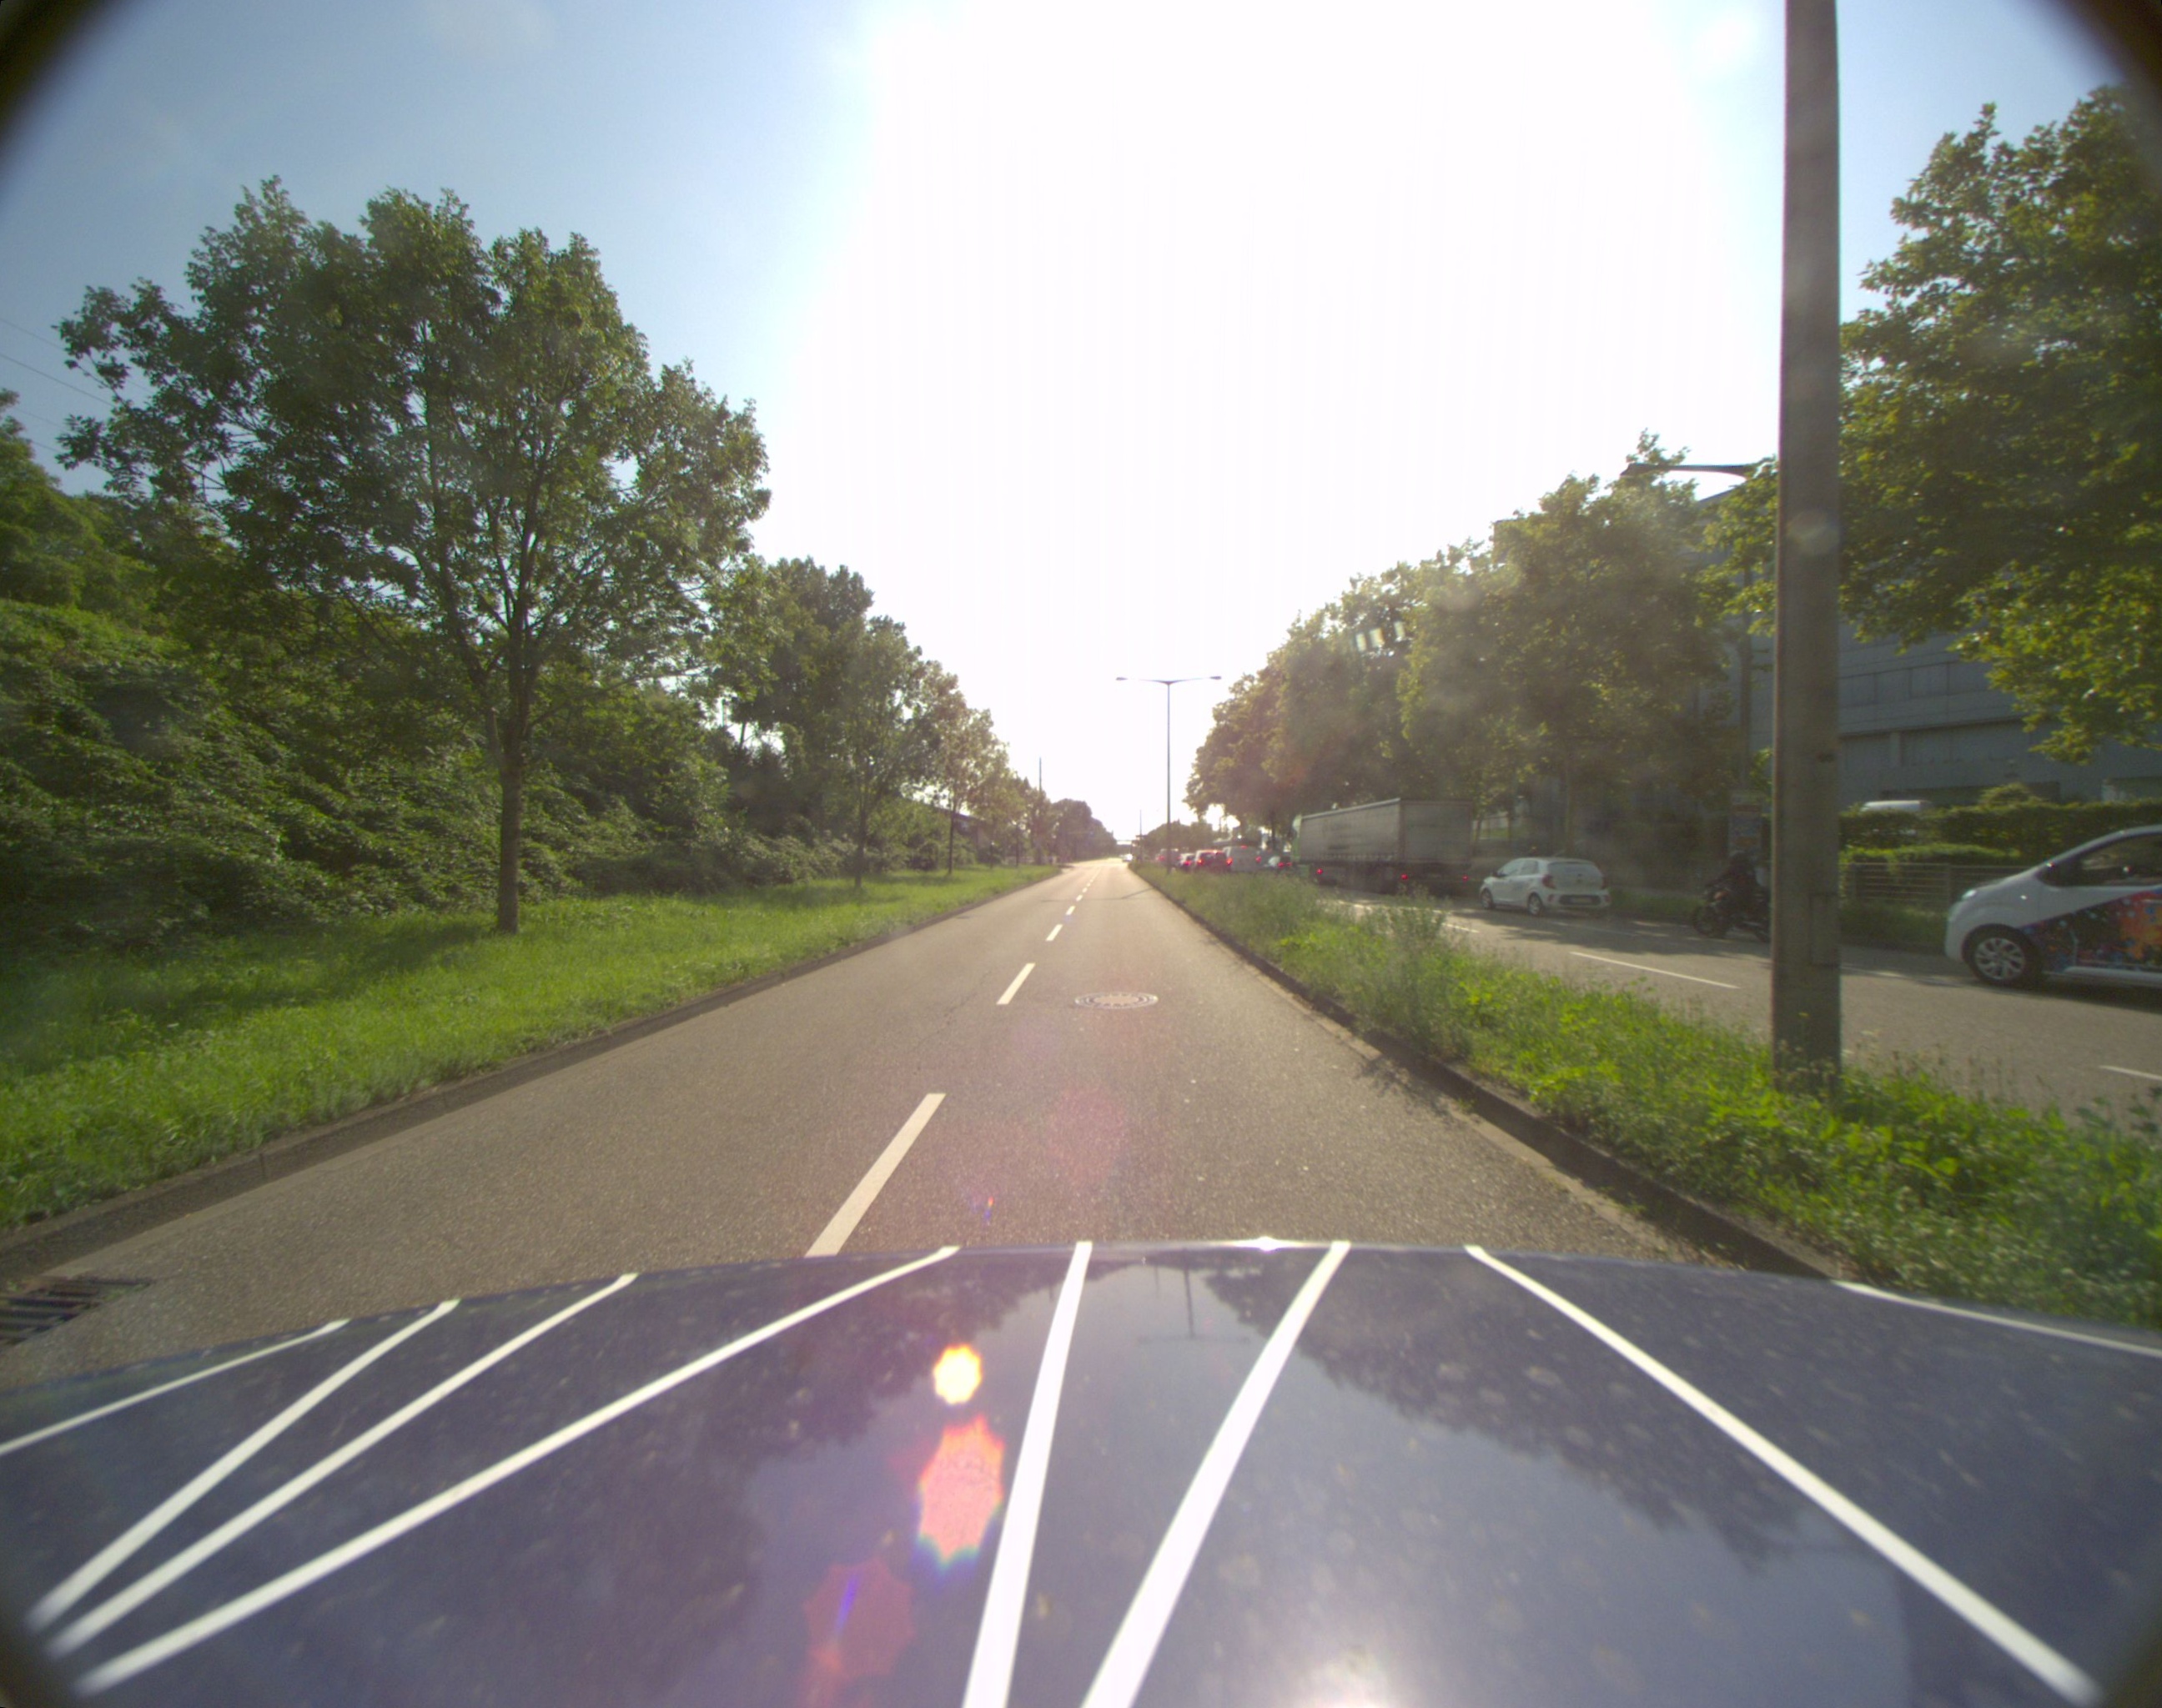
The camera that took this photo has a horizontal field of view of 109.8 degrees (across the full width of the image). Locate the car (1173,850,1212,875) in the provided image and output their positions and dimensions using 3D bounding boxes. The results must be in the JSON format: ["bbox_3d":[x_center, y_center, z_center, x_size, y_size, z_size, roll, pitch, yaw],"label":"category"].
[{"bbox_3d":[6.887,0.491,47.442,1.750,1.471,4.586,1,1,0],"label":"car"}]

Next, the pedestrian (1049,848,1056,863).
[{"bbox_3d":[-3.304,0.188,87.881,0.570,1.672,0.493,0,1,34],"label":"pedestrian"}]

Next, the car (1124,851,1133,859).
[{"bbox_3d":[9.360,0.235,149.901,1.544,1.433,3.397,0,-1,6],"label":"car"}]

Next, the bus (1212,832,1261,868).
[{"bbox_3d":[14.398,-0.374,71.457,2.596,3.061,12.313,-1,0,3],"label":"bus"}]

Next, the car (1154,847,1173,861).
[{"bbox_3d":[8.524,0.053,79.018,1.713,1.394,4.084,1,0,2],"label":"car"}]

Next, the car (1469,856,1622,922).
[{"bbox_3d":[11.837,0.824,19.681,1.750,1.471,3.831,1,1,3],"label":"car"}]

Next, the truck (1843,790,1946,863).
[{"bbox_3d":[34.447,-1.118,32.119,5.915,2.844,2.233,-1,1,-36],"label":"truck"}]

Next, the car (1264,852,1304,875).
[{"bbox_3d":[13.603,0.621,51.109,1.651,1.403,4.480,1,1,2],"label":"car"}]

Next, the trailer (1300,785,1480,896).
[{"bbox_3d":[12.711,-0.520,33.312,2.639,3.799,13.812,1,1,2],"label":"trailer"}]

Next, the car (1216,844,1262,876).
[{"bbox_3d":[10.000,0.339,48.430,1.998,1.942,5.036,0,1,2],"label":"car"}]

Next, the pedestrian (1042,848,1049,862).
[{"bbox_3d":[-4.100,0.100,88.494,0.573,1.558,0.535,-2,2,-39],"label":"pedestrian"}]

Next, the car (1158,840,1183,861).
[{"bbox_3d":[8.349,-0.339,71.224,1.916,1.853,4.891,1,0,2],"label":"car"}]

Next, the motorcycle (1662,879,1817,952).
[{"bbox_3d":[11.875,1.060,13.848,0.796,1.100,2.468,-1,0,3],"label":"motorcycle"}]

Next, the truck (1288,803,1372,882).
[{"bbox_3d":[12.928,-0.565,39.993,2.614,3.797,5.891,1,1,2],"label":"truck"}]

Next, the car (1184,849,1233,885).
[{"bbox_3d":[6.501,0.627,39.157,1.958,1.714,4.587,0,0,2],"label":"car"}]

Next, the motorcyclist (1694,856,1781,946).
[{"bbox_3d":[11.869,0.828,13.765,0.779,1.545,0.922,-1,1,3],"label":"motorcyclist"}]

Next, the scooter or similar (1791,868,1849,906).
[{"bbox_3d":[23.018,1.010,23.695,0.510,1.121,1.381,-1,1,4],"label":"scooter or similar"}]

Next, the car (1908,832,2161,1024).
[{"bbox_3d":[11.370,0.734,7.066,1.989,1.848,4.969,1,1,2],"label":"car"}]
